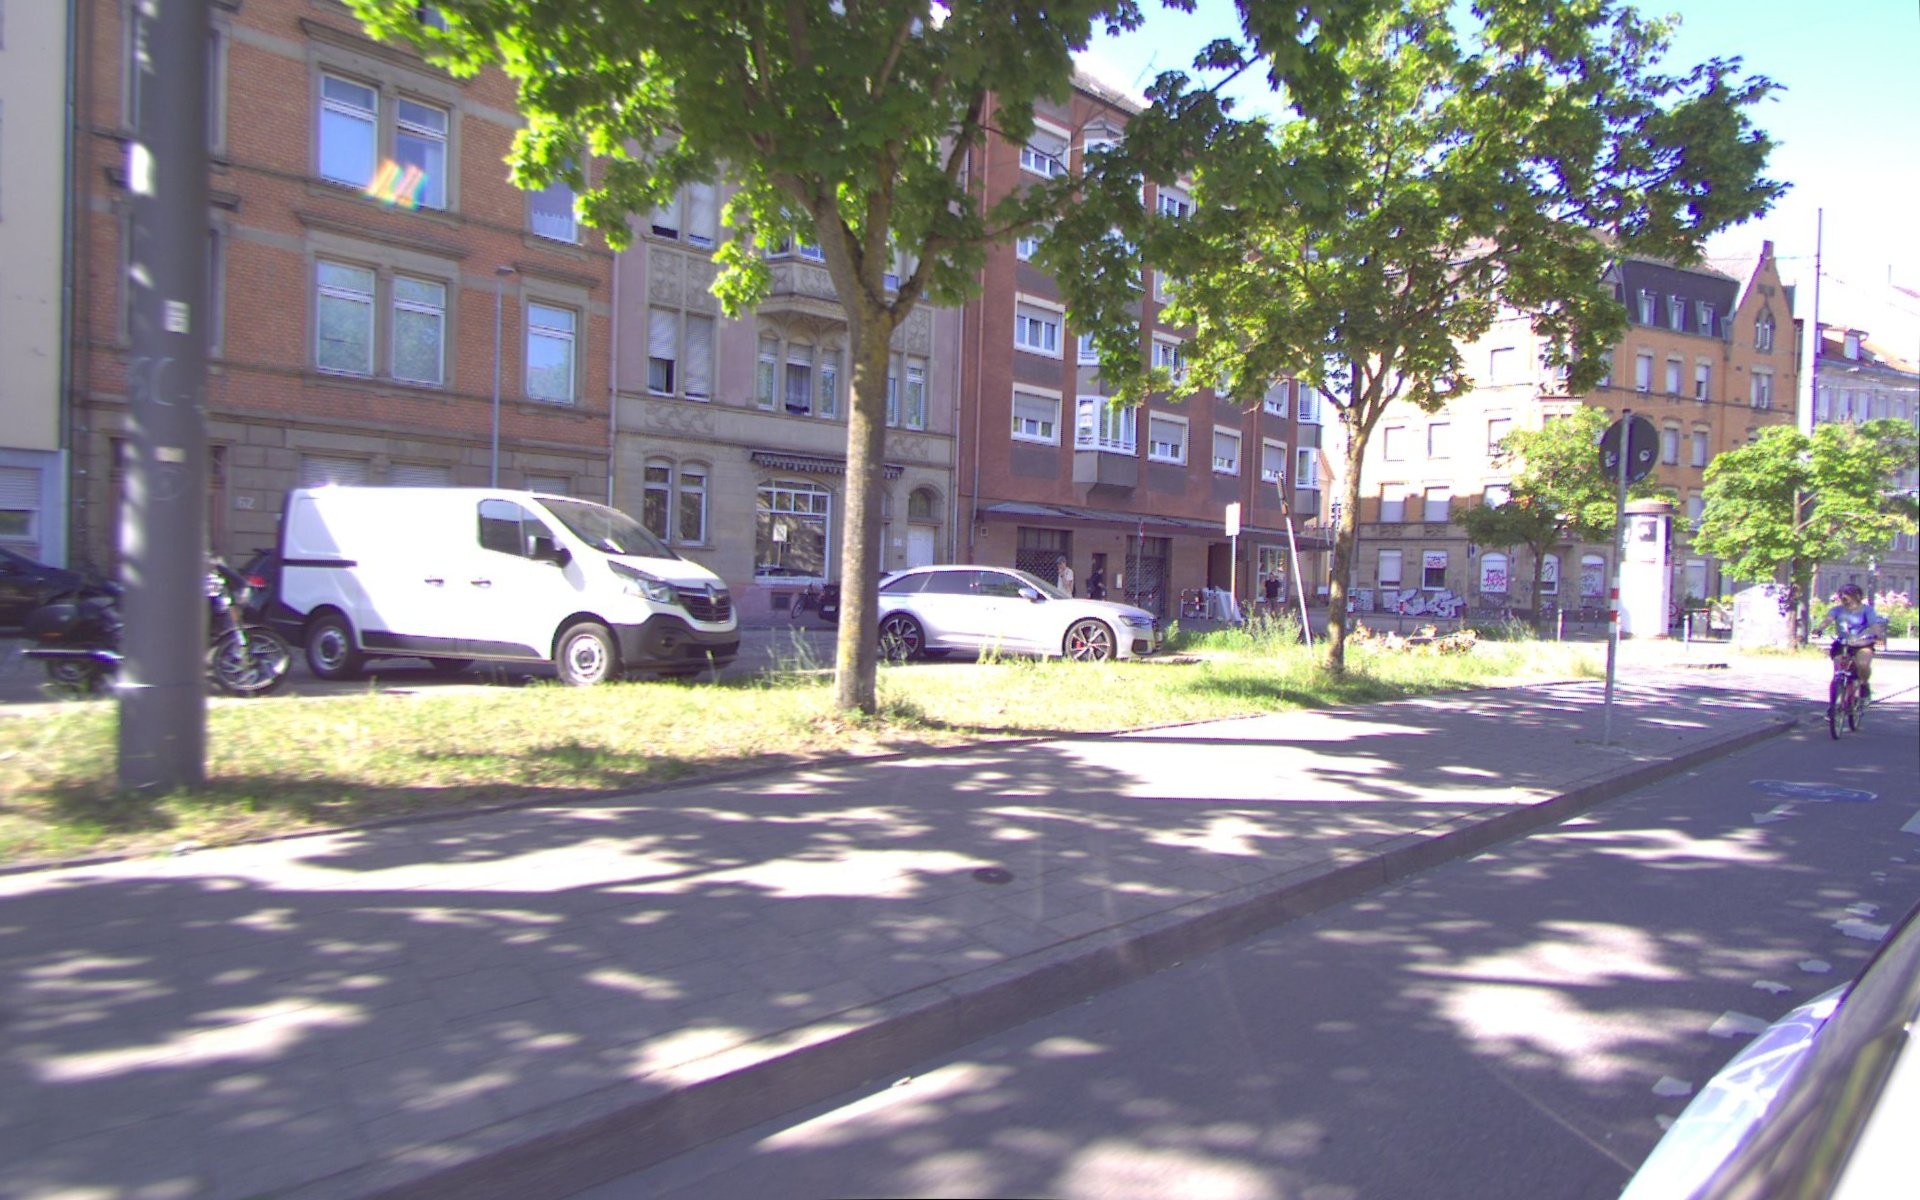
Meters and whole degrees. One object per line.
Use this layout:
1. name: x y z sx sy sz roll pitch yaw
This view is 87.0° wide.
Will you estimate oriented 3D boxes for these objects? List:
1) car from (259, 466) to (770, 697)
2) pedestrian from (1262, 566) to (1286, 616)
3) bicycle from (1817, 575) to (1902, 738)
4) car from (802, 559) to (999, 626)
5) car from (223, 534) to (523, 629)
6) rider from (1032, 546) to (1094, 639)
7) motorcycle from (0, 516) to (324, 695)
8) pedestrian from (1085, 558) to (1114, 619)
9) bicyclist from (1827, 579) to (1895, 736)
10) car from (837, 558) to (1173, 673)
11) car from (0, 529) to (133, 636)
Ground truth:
1. car: -4.687 -0.269 10.814 4.811 2.101 2.011 2 1 15
2. pedestrian: 11.308 -0.310 36.413 0.630 1.782 0.592 0 0 -40
3. bicycle: 9.892 0.570 11.107 1.904 1.659 0.438 0 0 -41
4. car: -1.379 -0.186 24.503 4.407 1.493 1.998 -1 0 -38
5. car: -9.987 -0.299 17.394 4.218 1.438 1.731 0 1 -41
6. rider: 2.122 -0.164 20.822 0.953 1.843 1.031 1 0 28
7. motorcycle: -6.971 0.033 8.892 2.219 1.438 0.855 1 1 1
8. pedestrian: 4.103 -0.345 29.788 0.604 1.780 0.571 0 1 -38
9. bicyclist: 9.929 0.607 11.150 0.765 1.659 0.438 0 0 -40
10. car: 0.734 0.165 15.559 4.814 1.452 2.010 2 1 17
11. car: -14.045 -0.272 13.926 4.091 1.438 1.882 0 1 -41
